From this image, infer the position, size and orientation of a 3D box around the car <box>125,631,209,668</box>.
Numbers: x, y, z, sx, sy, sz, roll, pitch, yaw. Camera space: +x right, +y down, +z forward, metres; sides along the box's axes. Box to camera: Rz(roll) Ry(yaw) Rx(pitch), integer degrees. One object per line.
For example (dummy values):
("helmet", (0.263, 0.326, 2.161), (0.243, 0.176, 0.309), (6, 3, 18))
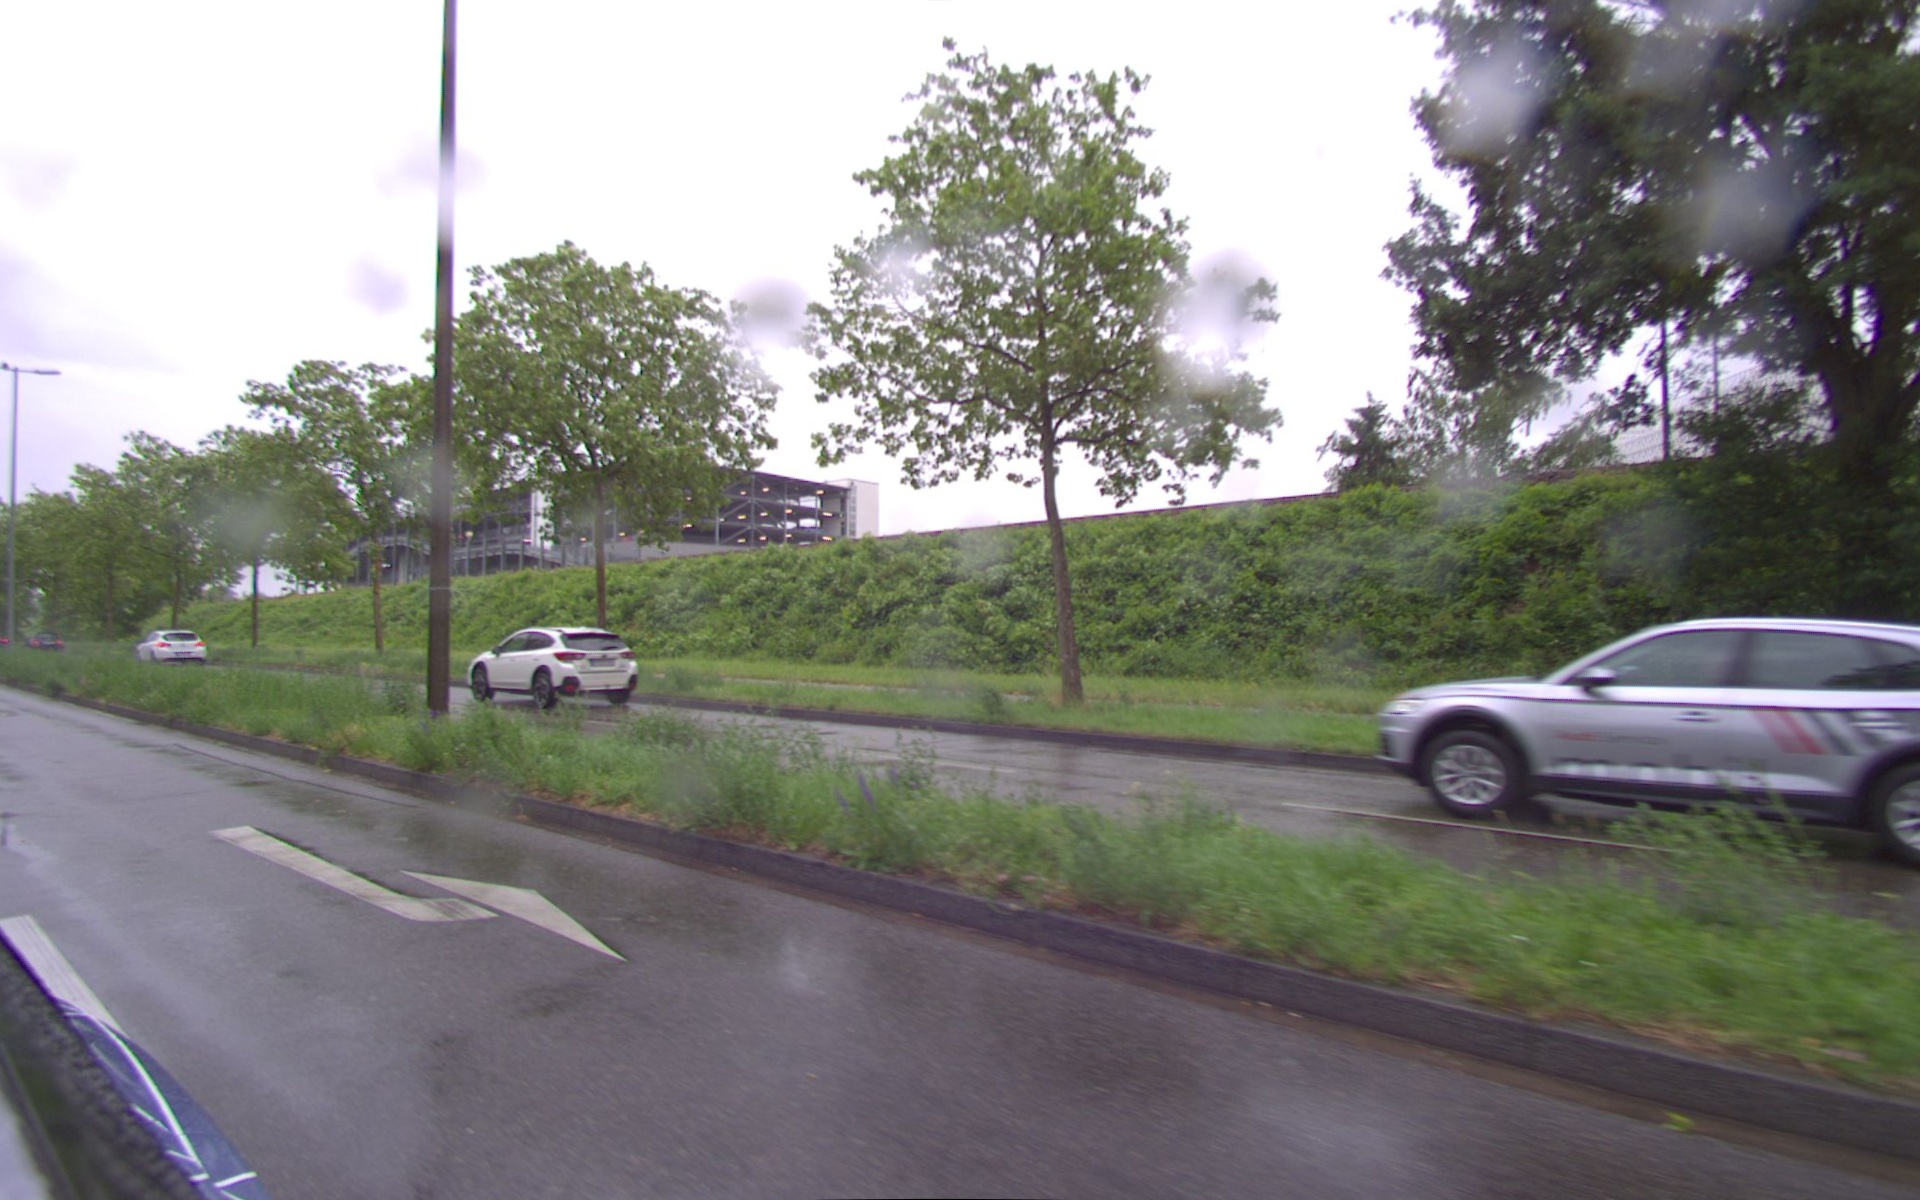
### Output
("car", (-33.490, 2.057, 42.693), (4.654, 1.456, 1.911), (-2, -2, 41))

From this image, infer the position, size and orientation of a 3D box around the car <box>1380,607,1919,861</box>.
("car", (5.847, 0.920, 7.788), (4.514, 1.601, 1.838), (-1, -4, 40))

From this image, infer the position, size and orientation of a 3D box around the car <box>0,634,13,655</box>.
("car", (-68.505, 3.113, 71.459), (4.494, 1.456, 1.911), (-2, -2, 41))

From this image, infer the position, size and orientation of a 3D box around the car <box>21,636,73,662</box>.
("car", (-55.692, 2.967, 61.745), (3.705, 1.456, 1.911), (-2, -2, 41))

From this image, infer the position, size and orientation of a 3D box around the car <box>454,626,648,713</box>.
("car", (-8.453, 1.346, 20.745), (4.516, 1.601, 1.837), (-2, -3, 41))
